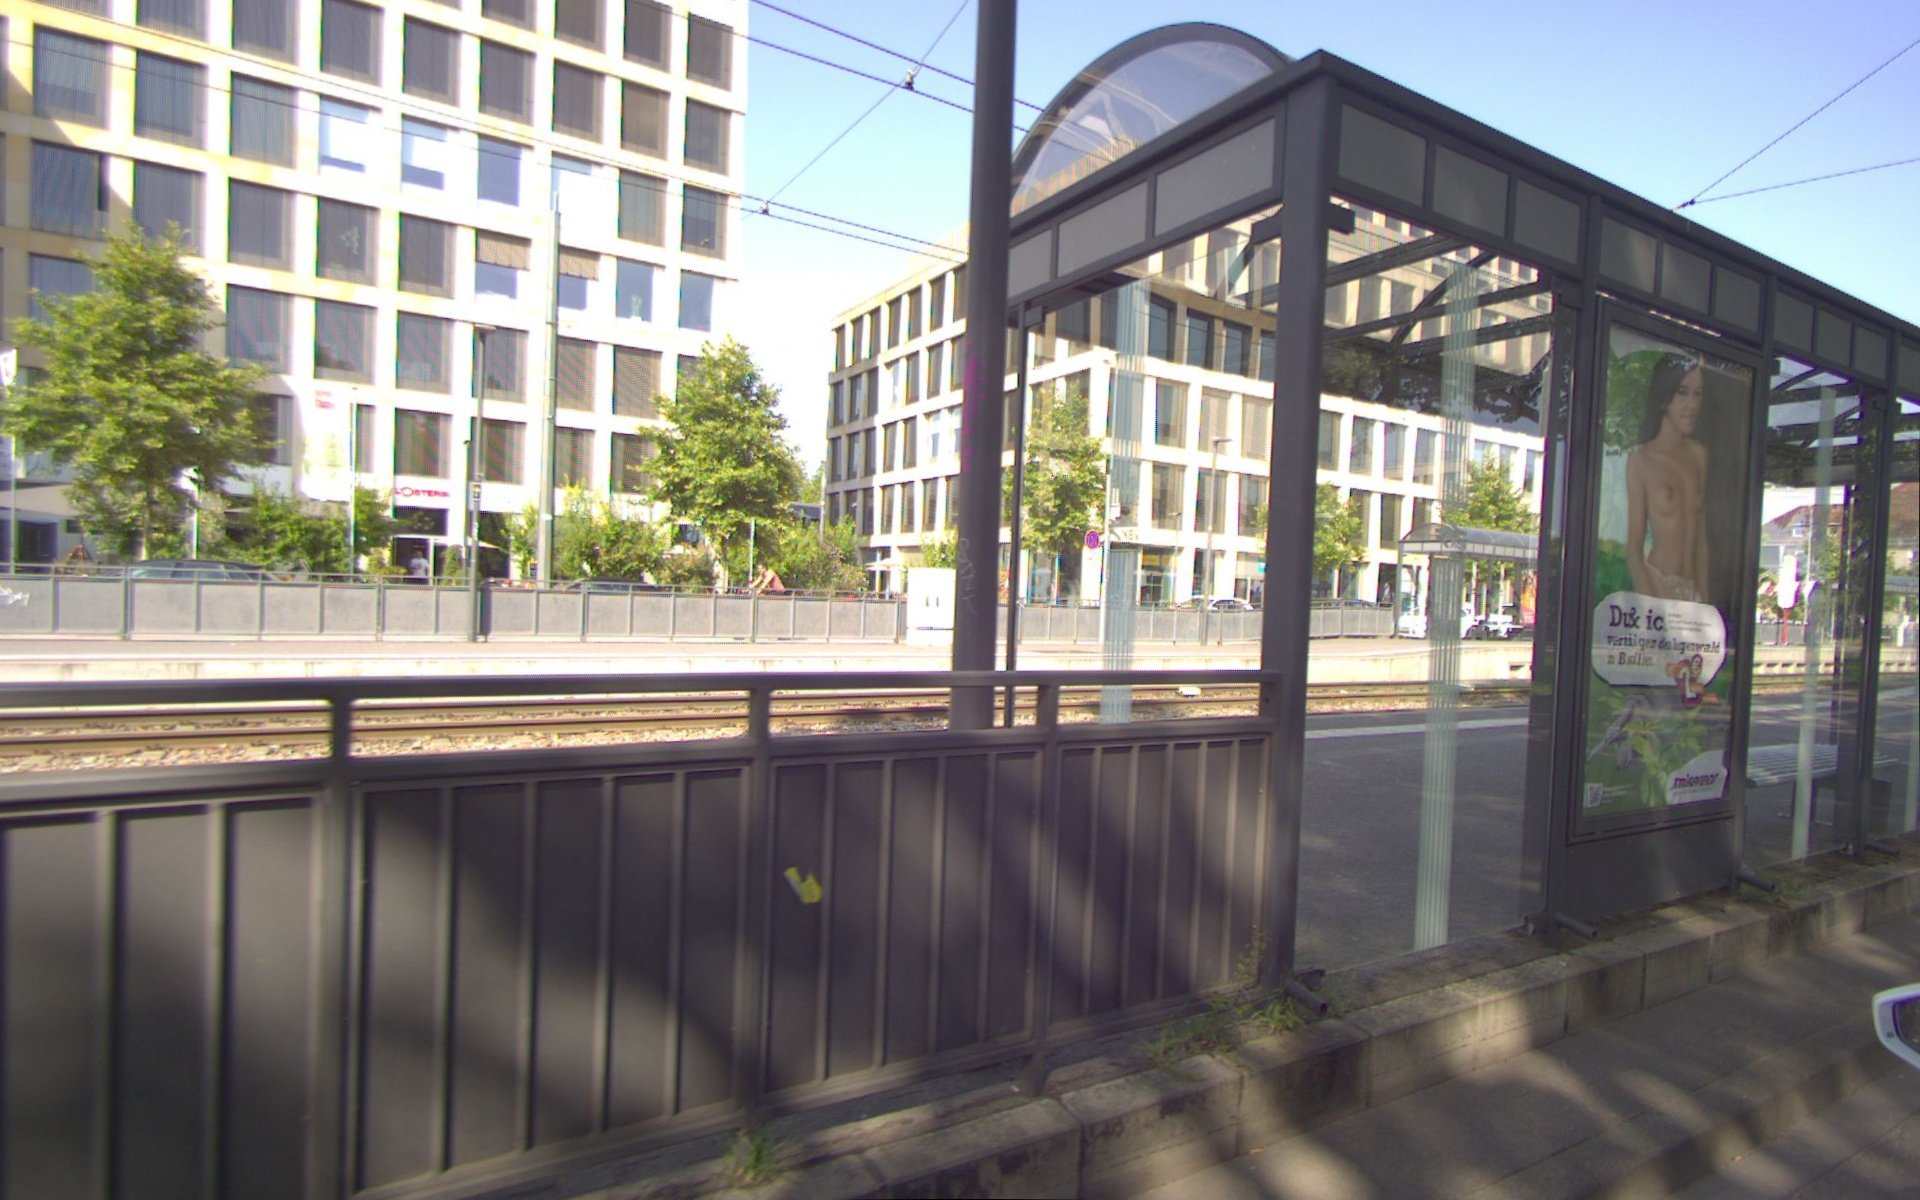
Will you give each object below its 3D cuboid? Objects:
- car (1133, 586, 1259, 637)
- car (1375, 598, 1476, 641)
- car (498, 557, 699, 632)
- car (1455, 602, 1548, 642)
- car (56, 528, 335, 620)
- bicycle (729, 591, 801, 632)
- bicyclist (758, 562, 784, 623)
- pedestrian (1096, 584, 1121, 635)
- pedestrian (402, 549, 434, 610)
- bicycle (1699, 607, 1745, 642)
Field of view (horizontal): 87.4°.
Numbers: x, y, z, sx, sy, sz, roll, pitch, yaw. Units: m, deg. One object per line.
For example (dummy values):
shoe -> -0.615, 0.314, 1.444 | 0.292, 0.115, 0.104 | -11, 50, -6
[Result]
car -> 7.923, 0.387, 33.659 | 4.087, 1.595, 1.754 | 2, 0, -32
car -> 18.825, 0.790, 40.584 | 4.087, 1.595, 1.754 | 2, 0, -32
car -> -8.332, -0.097, 23.273 | 4.087, 1.555, 1.754 | 2, 0, -32
car -> 23.530, 0.965, 43.622 | 4.087, 1.624, 1.754 | 2, 0, -32
car -> -14.541, -0.443, 19.440 | 4.087, 1.555, 1.754 | 2, 0, -32
bicycle -> -4.419, 0.271, 22.829 | 1.558, 0.891, 0.386 | 2, 1, -31
bicyclist -> -4.310, -0.171, 22.876 | 0.442, 1.379, 0.385 | 1, 1, -31
pedestrian -> 6.078, 0.413, 41.142 | 0.813, 2.040, 0.560 | 3, -2, -31
pedestrian -> -18.417, -0.686, 34.109 | 0.902, 2.040, 0.724 | 2, 1, -29
bicycle -> 26.850, 0.862, 35.385 | 1.459, 1.163, 0.471 | 2, 1, -16
